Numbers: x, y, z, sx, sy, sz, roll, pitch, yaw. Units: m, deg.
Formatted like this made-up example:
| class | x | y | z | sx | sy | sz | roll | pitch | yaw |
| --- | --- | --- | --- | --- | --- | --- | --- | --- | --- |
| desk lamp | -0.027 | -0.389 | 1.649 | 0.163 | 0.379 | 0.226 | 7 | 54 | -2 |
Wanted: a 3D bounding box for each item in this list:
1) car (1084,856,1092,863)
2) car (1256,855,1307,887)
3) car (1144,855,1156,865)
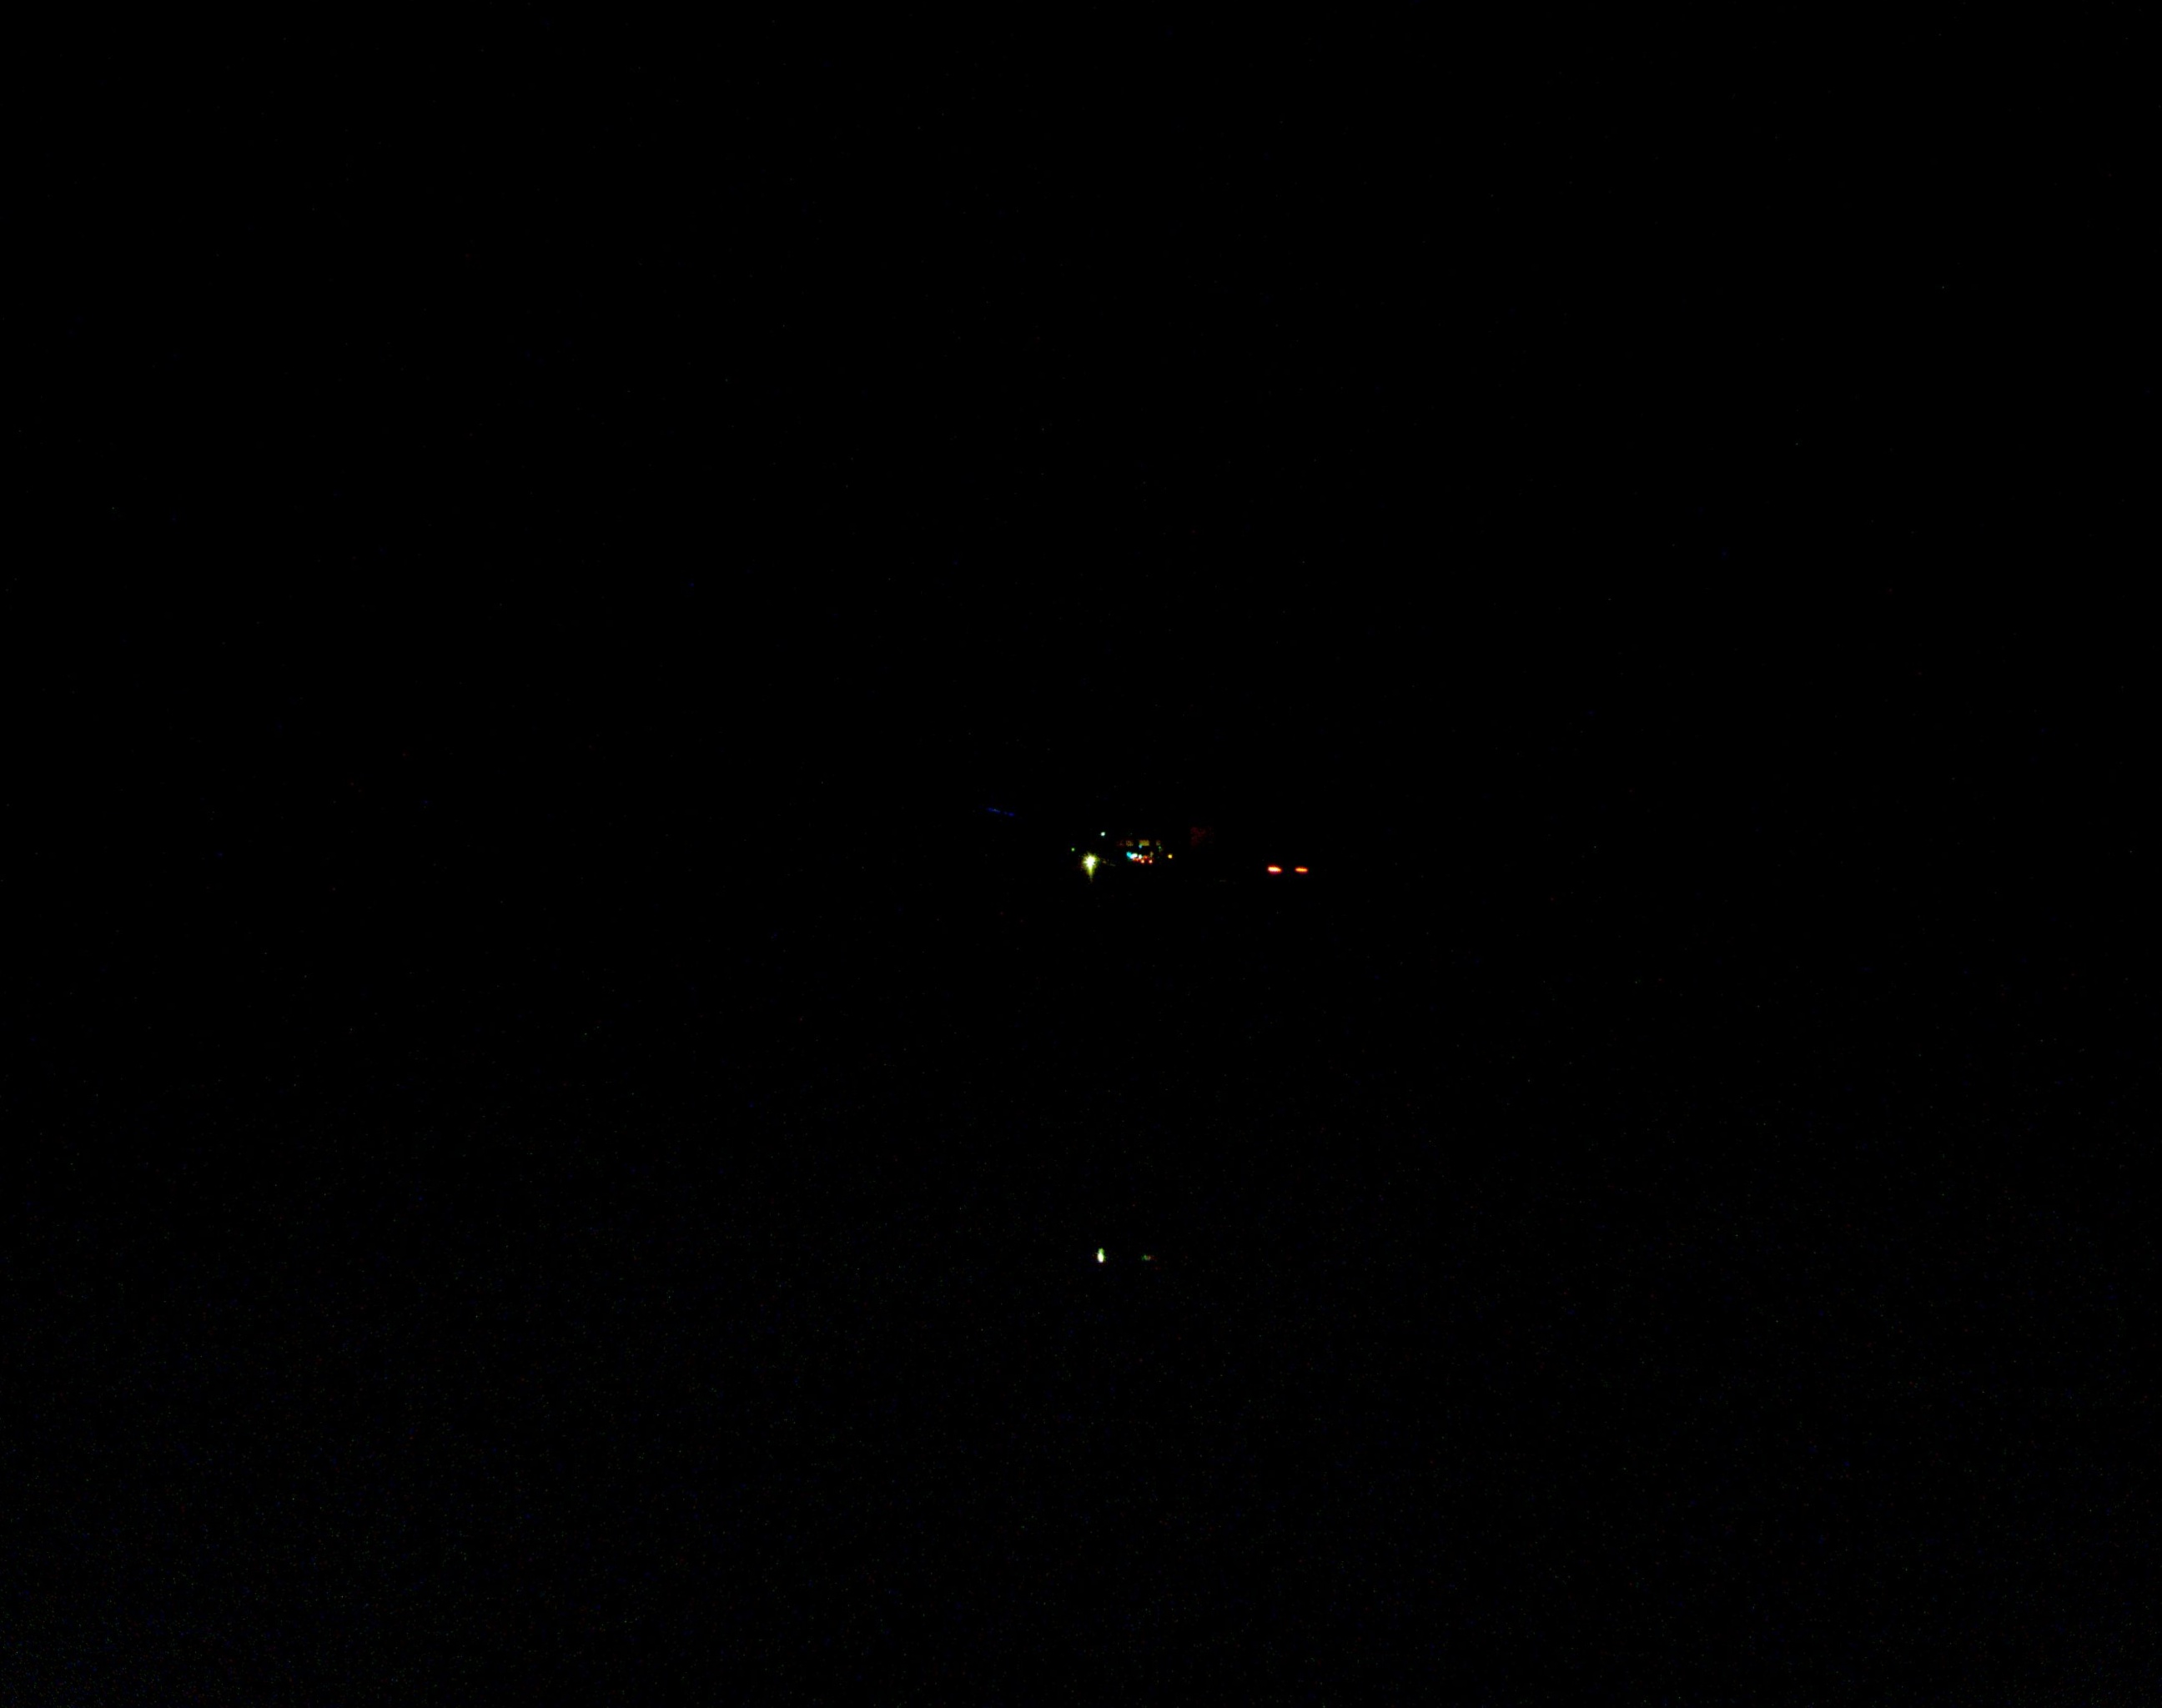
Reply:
| class | x | y | z | sx | sy | sz | roll | pitch | yaw |
| --- | --- | --- | --- | --- | --- | --- | --- | --- | --- |
| car | 1.406 | 1.005 | 153.126 | 1.570 | 1.336 | 4.166 | -2 | 0 | 0 |
| car | 10.225 | 0.825 | 38.985 | 1.621 | 1.498 | 3.868 | -2 | 1 | 0 |
| car | 11.666 | 1.006 | 129.330 | 1.687 | 1.578 | 4.166 | -2 | 0 | 0 |
